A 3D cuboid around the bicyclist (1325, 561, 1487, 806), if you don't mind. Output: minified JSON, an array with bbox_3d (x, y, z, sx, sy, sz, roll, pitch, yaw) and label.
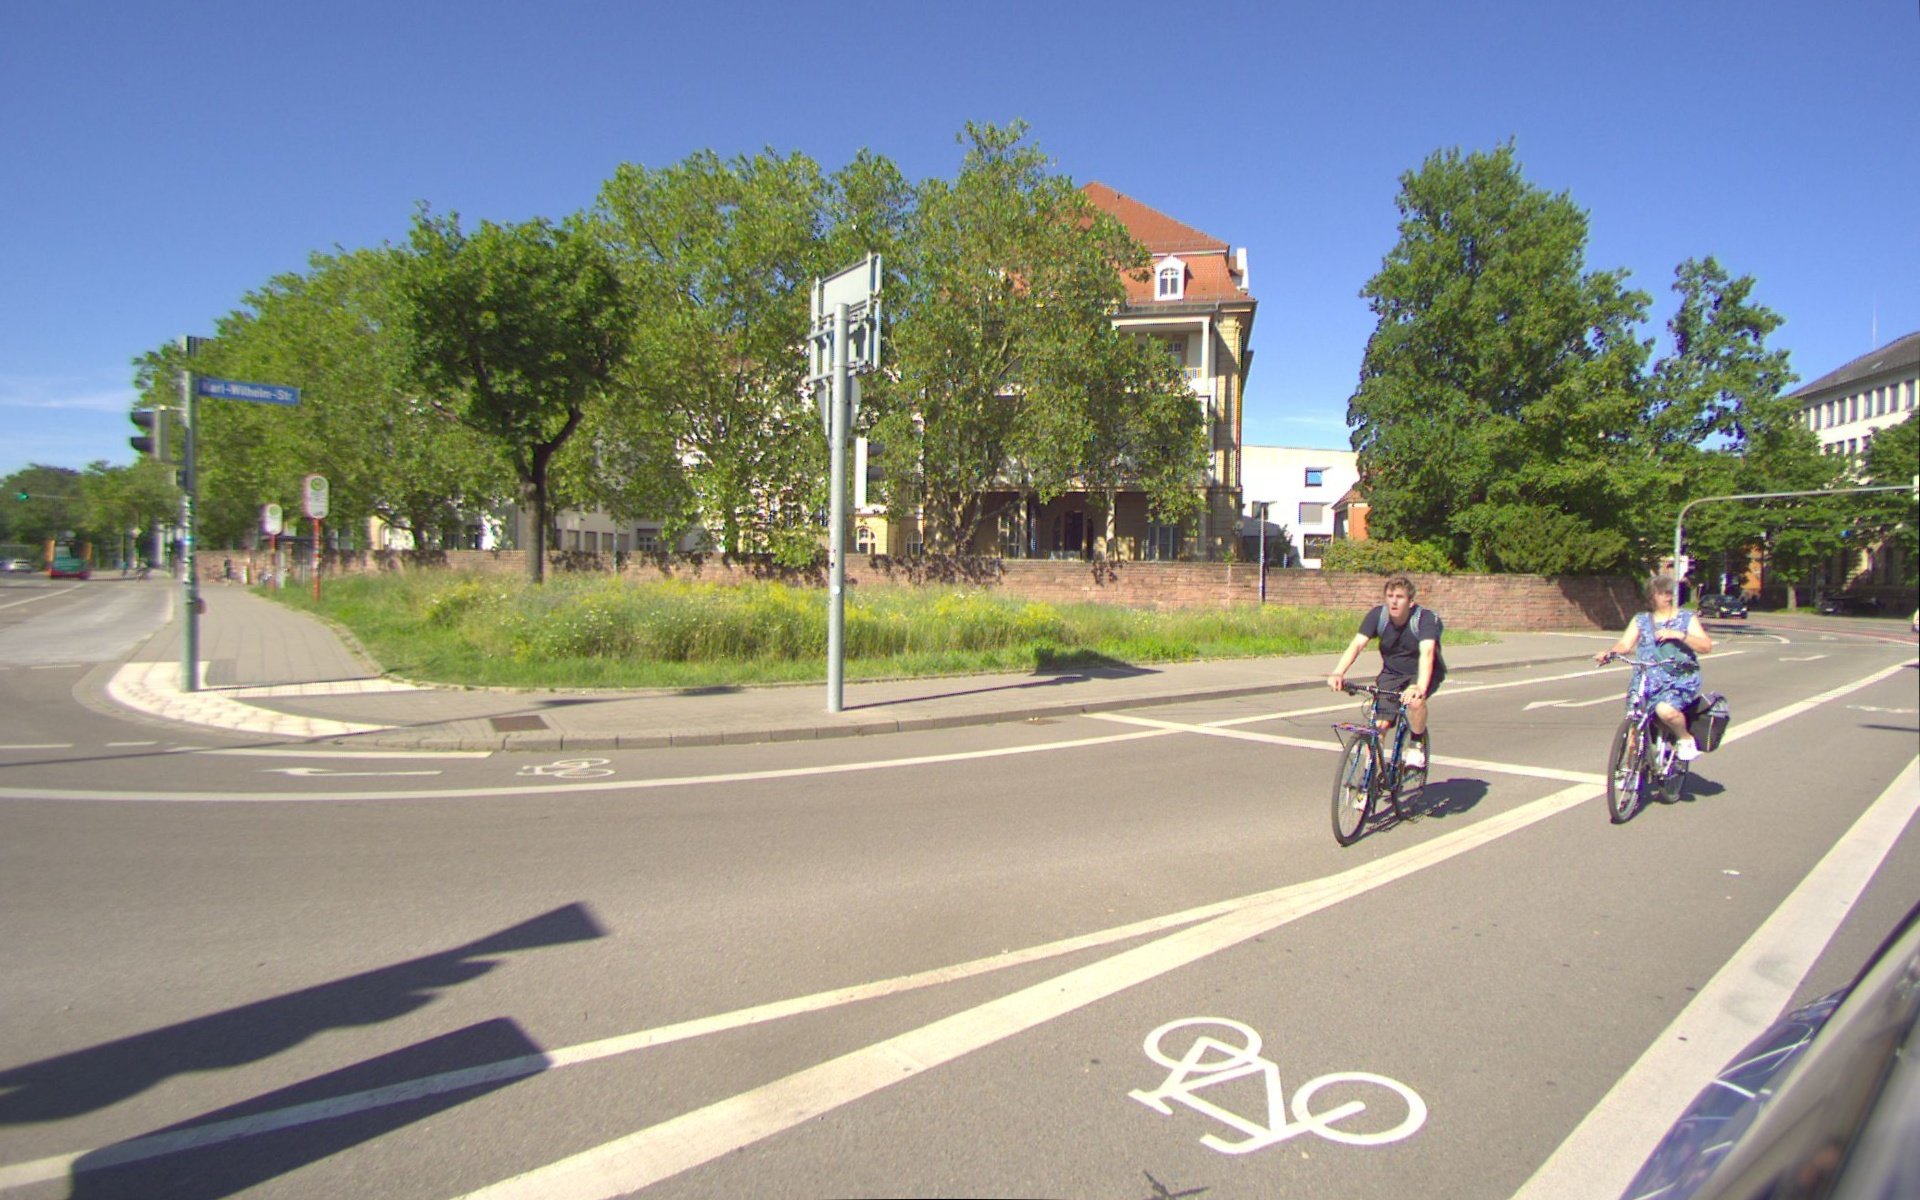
[{"bbox_3d":[2.912,0.497,6.593,0.937,1.462,0.642,1,0,-42],"label":"bicyclist"}]

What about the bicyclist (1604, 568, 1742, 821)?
[{"bbox_3d":[5.085,0.617,7.214,0.763,1.683,0.642,-1,1,-42],"label":"bicyclist"}]

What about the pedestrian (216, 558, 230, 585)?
[{"bbox_3d":[-45.692,-1.780,62.710,0.642,1.631,0.557,0,-1,-44],"label":"pedestrian"}]

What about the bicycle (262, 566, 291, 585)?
[{"bbox_3d":[-42.214,-1.490,62.495,2.071,1.090,0.786,-1,0,34],"label":"bicycle"}]

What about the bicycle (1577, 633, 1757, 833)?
[{"bbox_3d":[5.090,0.862,7.231,1.934,1.180,0.642,0,0,-42],"label":"bicycle"}]

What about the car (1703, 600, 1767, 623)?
[{"bbox_3d":[52.267,0.750,68.314,1.972,1.491,4.275,-1,0,17],"label":"car"}]

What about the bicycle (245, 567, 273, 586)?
[{"bbox_3d":[-44.171,-1.468,63.756,2.071,1.090,0.786,-1,0,34],"label":"bicycle"}]

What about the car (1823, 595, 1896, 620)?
[{"bbox_3d":[69.164,0.571,77.884,3.730,1.838,2.000,1,1,2],"label":"car"}]

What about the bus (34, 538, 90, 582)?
[{"bbox_3d":[-73.703,-3.201,82.999,6.234,3.315,2.941,-1,0,44],"label":"bus"}]

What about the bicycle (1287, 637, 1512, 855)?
[{"bbox_3d":[2.909,0.859,6.600,1.838,1.180,0.642,1,0,-42],"label":"bicycle"}]

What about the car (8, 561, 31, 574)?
[{"bbox_3d":[-114.959,-3.973,123.721,1.663,1.612,3.596,-2,3,-38],"label":"car"}]
